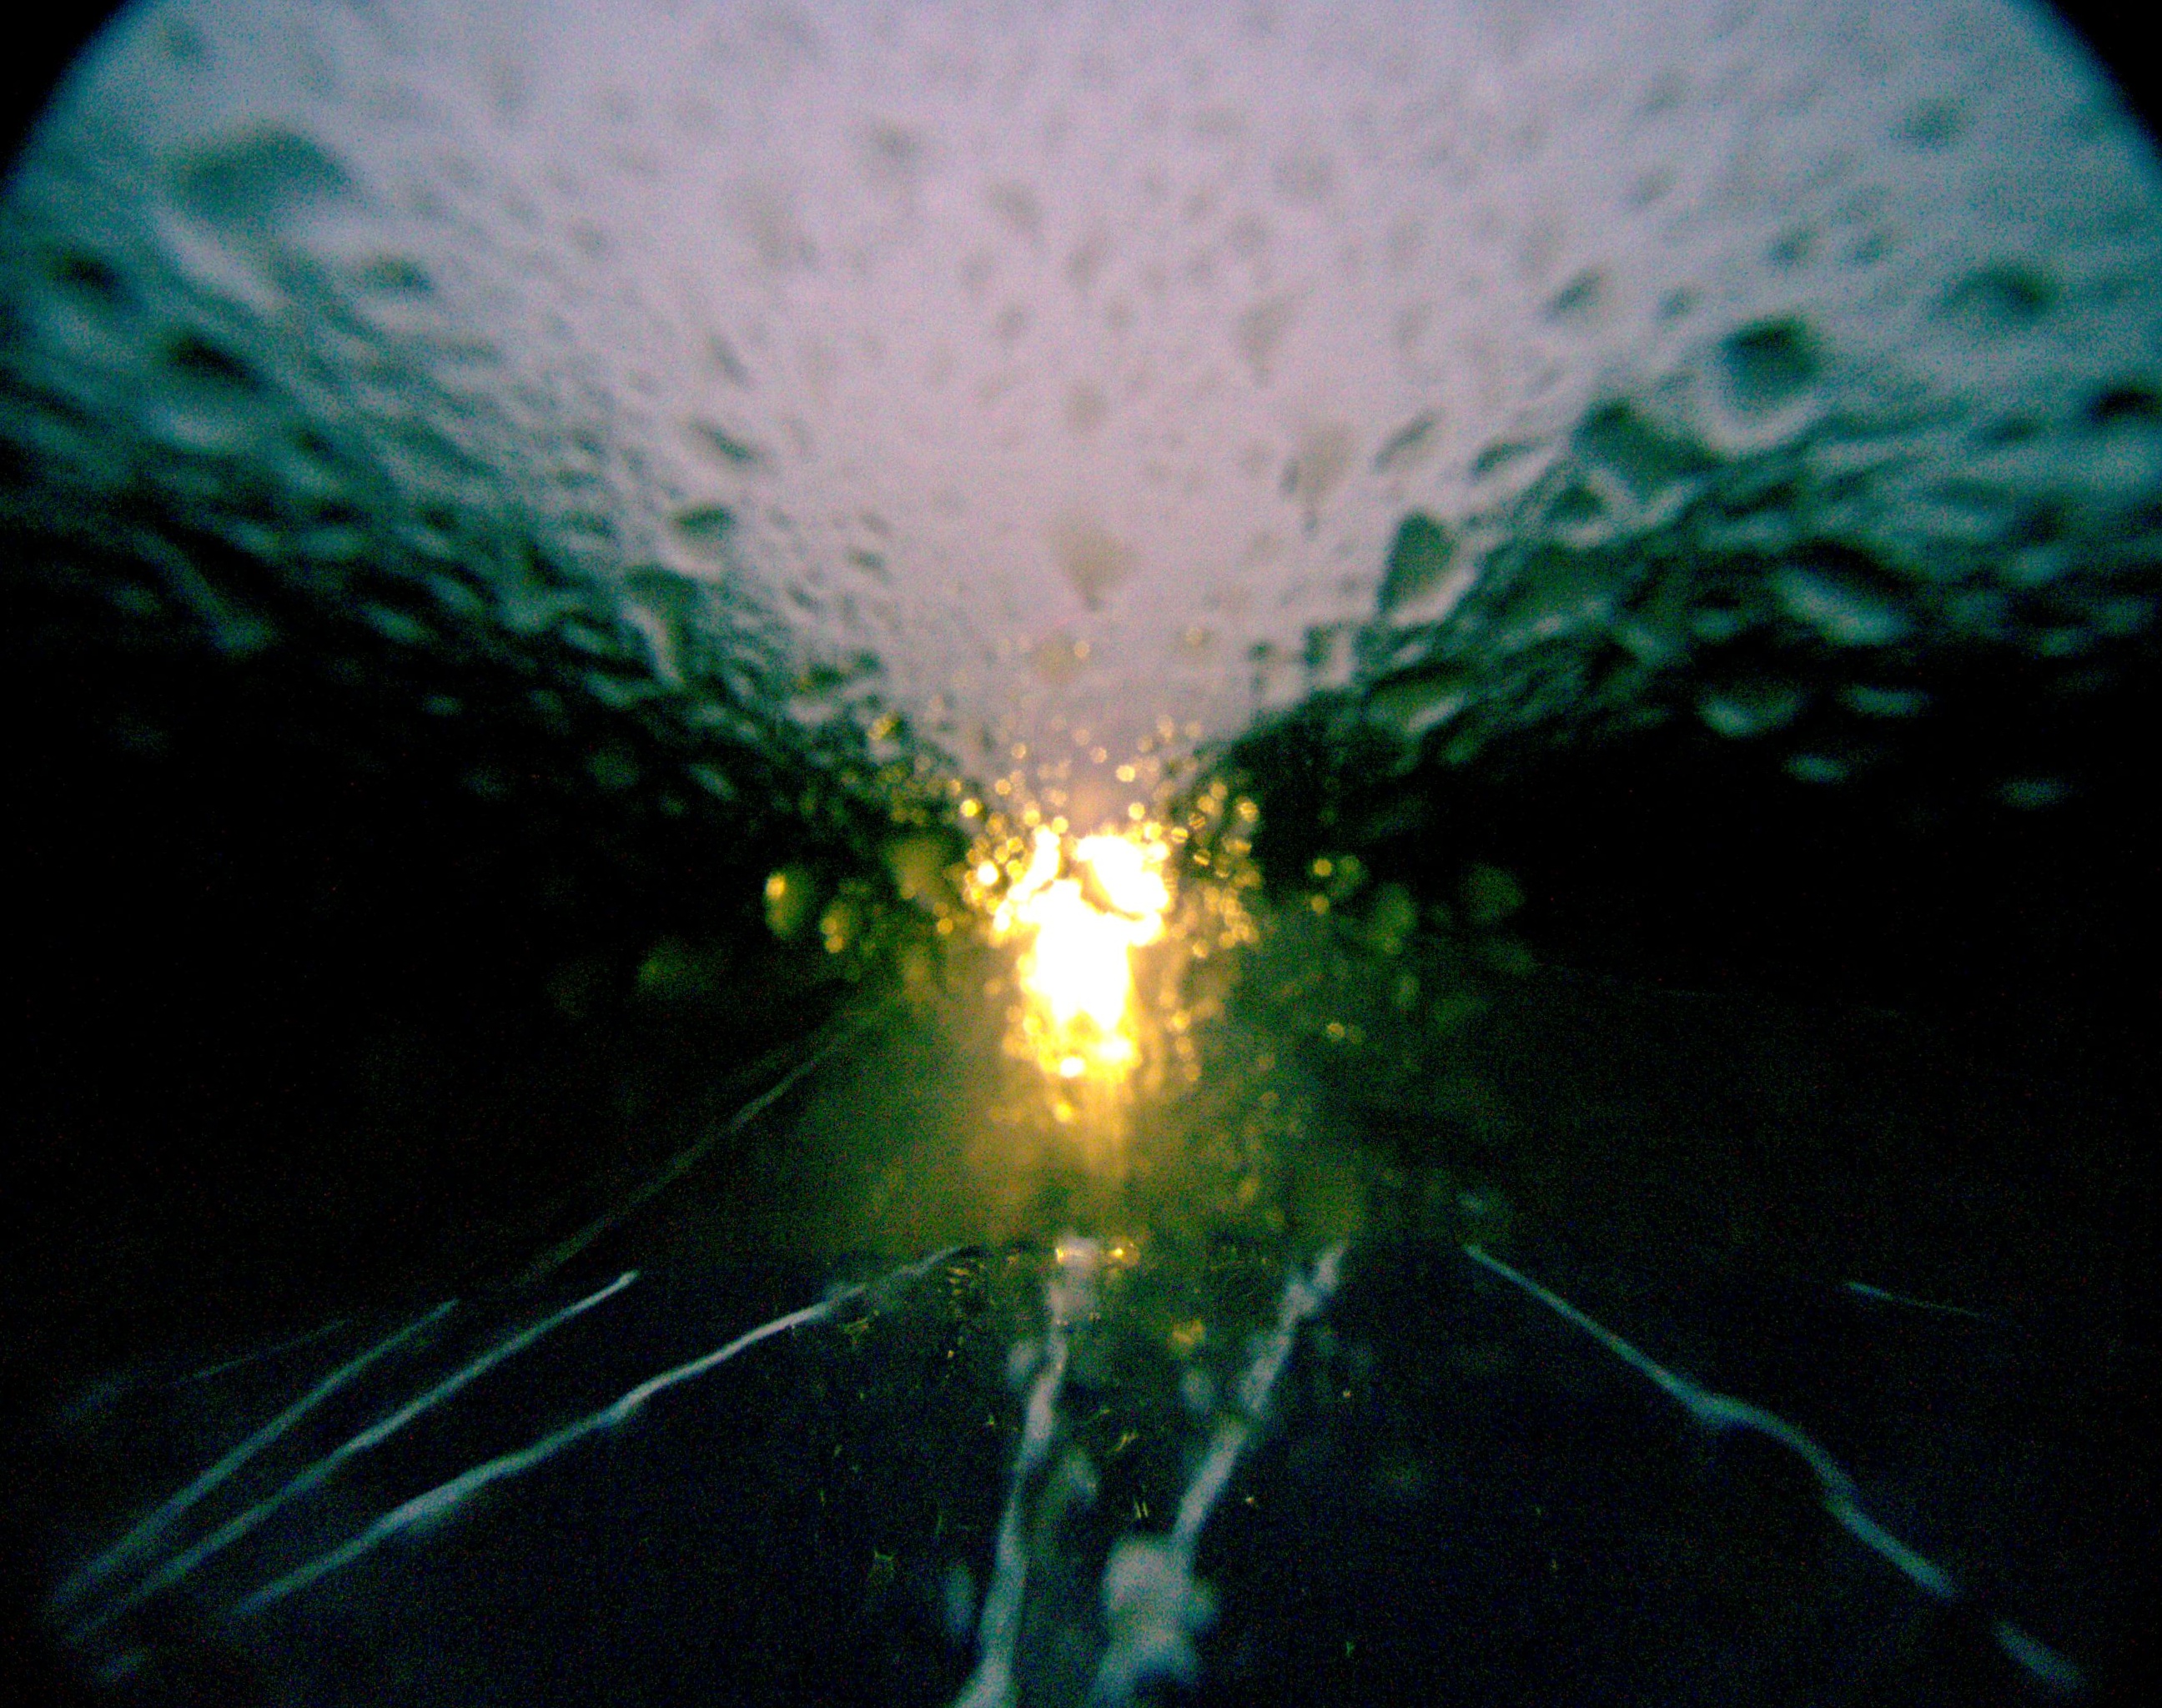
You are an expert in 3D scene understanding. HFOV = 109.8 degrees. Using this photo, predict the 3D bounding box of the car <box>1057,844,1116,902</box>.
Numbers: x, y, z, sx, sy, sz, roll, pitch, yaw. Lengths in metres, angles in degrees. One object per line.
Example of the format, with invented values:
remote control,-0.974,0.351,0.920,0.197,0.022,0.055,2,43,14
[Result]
car,0.245,0.561,25.106,1.572,1.701,4.001,-2,1,5

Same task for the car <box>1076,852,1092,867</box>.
car,0.411,0.647,96.010,1.998,1.752,4.371,-2,1,1
